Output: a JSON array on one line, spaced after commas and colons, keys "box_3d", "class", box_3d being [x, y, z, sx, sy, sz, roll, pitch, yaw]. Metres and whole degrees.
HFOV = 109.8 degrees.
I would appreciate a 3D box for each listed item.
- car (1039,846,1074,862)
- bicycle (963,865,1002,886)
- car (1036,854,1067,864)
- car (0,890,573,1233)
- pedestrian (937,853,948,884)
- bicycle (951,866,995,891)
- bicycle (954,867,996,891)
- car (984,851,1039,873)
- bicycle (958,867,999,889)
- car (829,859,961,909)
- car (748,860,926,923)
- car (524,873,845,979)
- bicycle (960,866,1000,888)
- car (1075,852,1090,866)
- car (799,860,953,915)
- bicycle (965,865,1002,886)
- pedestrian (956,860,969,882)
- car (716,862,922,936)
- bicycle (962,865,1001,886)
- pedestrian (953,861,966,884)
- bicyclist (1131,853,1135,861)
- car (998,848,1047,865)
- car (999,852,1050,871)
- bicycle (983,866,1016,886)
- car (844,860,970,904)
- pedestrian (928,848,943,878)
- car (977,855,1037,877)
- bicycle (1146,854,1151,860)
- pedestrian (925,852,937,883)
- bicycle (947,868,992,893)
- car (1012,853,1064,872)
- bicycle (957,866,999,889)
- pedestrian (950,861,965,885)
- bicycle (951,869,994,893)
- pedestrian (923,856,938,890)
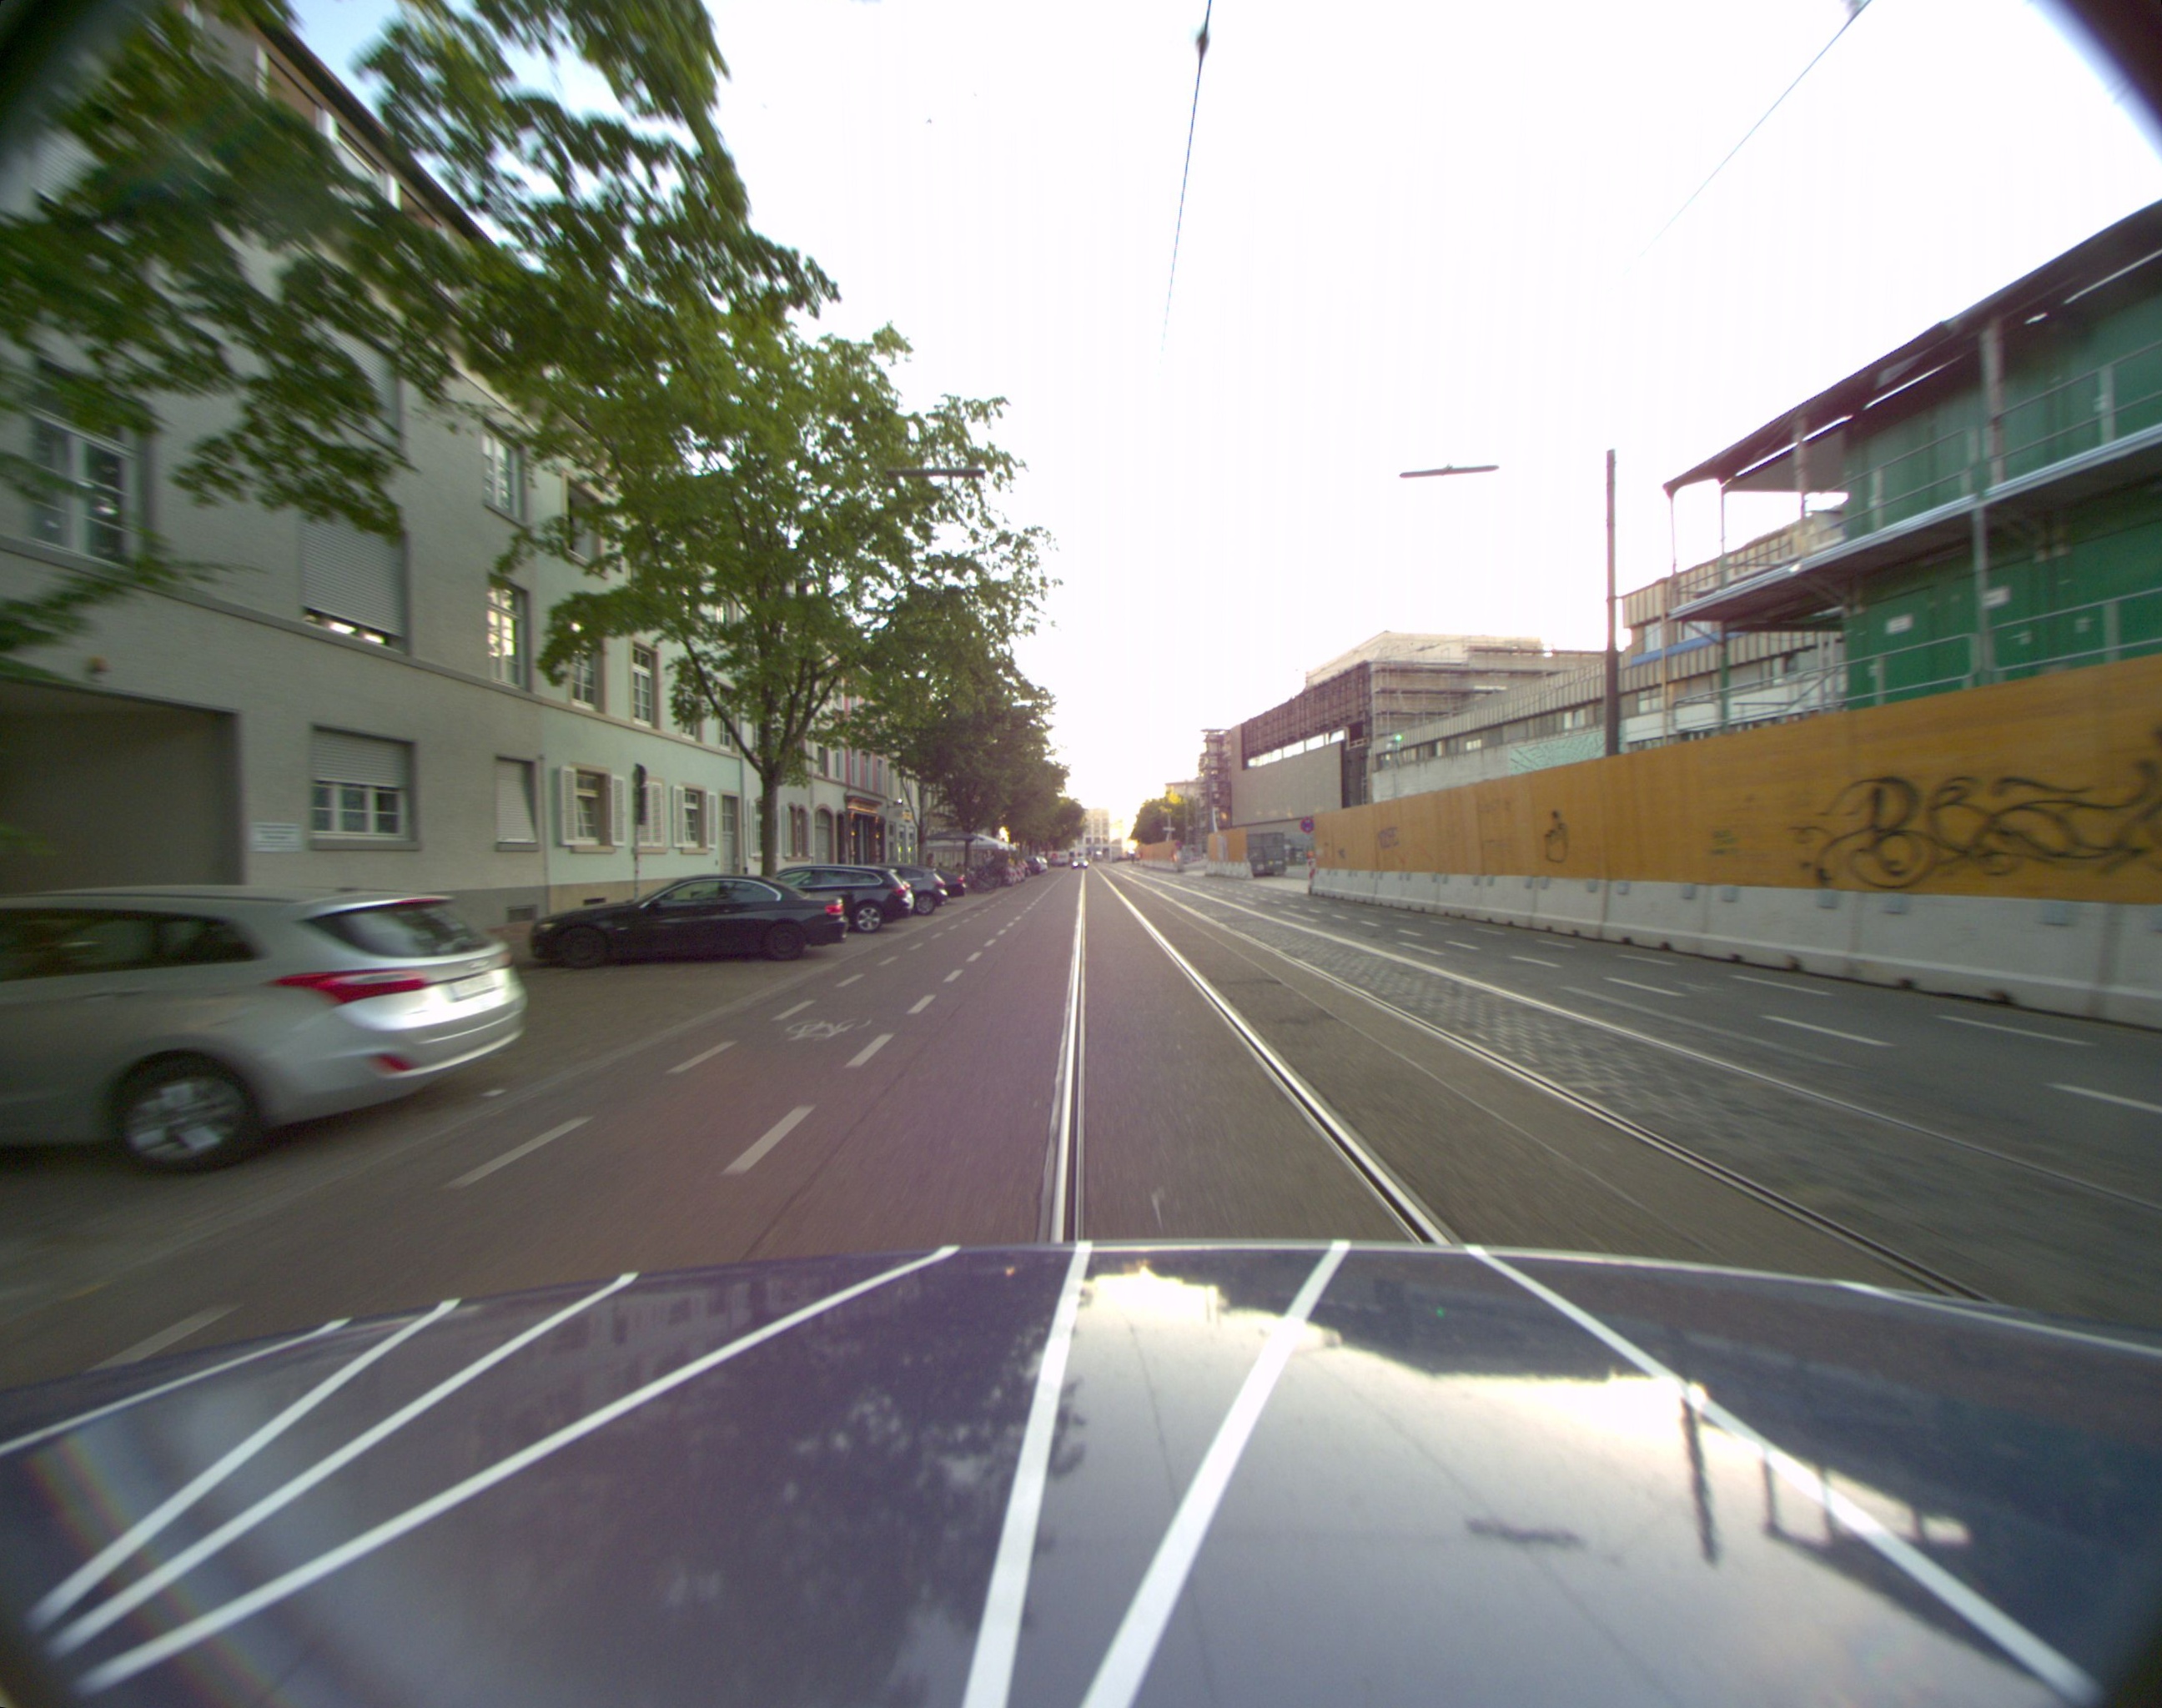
[{"box_3d": [-4.264, 0.033, 130.348, 5.650, 2.678, 2.166, -1, 0, -34], "class": "car"}, {"box_3d": [-5.108, 1.125, 39.382, 1.891, 1.025, 0.608, 2, 0, -1], "class": "bicycle"}, {"box_3d": [-4.766, 0.822, 122.892, 4.614, 1.504, 1.859, 1, -1, -25], "class": "car"}, {"box_3d": [-5.895, 1.053, 4.558, 4.265, 1.540, 2.017, 0, 1, -10], "class": "car"}, {"box_3d": [-8.086, 0.838, 44.356, 0.553, 1.753, 0.714, -2, 1, -16], "class": "pedestrian"}, {"box_3d": [-4.985, 1.140, 35.192, 1.891, 1.061, 0.674, 2, 0, -1], "class": "bicycle"}, {"box_3d": [-4.996, 1.174, 35.861, 1.891, 1.025, 0.608, 2, 0, -1], "class": "bicycle"}, {"box_3d": [-5.779, 0.638, 63.256, 4.167, 1.796, 2.003, 0, 0, -28], "class": "car"}, {"box_3d": [-5.010, 1.175, 37.293, 1.891, 1.025, 0.608, 2, 0, -1], "class": "bicycle"}, {"box_3d": [-6.006, 0.954, 24.611, 3.964, 1.462, 1.998, 2, 0, -16], "class": "car"}, {"box_3d": [-6.278, 0.940, 19.494, 4.135, 1.462, 1.983, 2, 0, -24], "class": "car"}, {"box_3d": [-6.139, 1.043, 12.296, 4.269, 1.384, 2.011, 0, 0, -23], "class": "car"}, {"box_3d": [-5.040, 1.168, 37.982, 1.891, 1.025, 0.608, 2, 0, -1], "class": "bicycle"}, {"box_3d": [0.217, 0.605, 97.480, 1.840, 1.631, 4.169, -5, 0, 1], "class": "car"}, {"box_3d": [-5.924, 0.971, 22.183, 4.131, 1.462, 1.821, 2, 0, -14], "class": "car"}, {"box_3d": [-5.142, 1.121, 40.089, 1.820, 1.025, 0.608, 2, 0, -1], "class": "bicycle"}, {"box_3d": [-7.154, 1.033, 45.735, 0.553, 1.298, 0.713, -1, 1, -27], "class": "pedestrian"}, {"box_3d": [-5.863, 0.979, 17.085, 4.135, 1.462, 2.011, 2, 0, -24], "class": "car"}, {"box_3d": [-5.071, 1.100, 38.703, 1.891, 1.025, 0.608, 2, 0, -1], "class": "bicycle"}, {"box_3d": [-6.871, 1.020, 42.993, 0.599, 1.285, 0.504, 0, 1, 3], "class": "pedestrian"}, {"box_3d": [10.568, 0.576, 154.157, 0.770, 1.656, 1.018, -1, 0, 0], "class": "bicyclist"}, {"box_3d": [-6.488, 0.274, 84.048, 4.984, 1.816, 2.204, 0, 0, -18], "class": "car"}, {"box_3d": [-5.275, 0.718, 71.851, 4.661, 1.678, 2.008, 1, 0, -1], "class": "car"}, {"box_3d": [-4.403, 1.188, 41.130, 1.683, 1.025, 0.557, 2, 0, -1], "class": "bicycle"}, {"box_3d": [-6.173, 0.998, 26.925, 4.179, 1.418, 1.820, 2, 0, -18], "class": "car"}, {"box_3d": [-8.773, 0.531, 45.791, 0.705, 1.753, 0.713, -2, 1, -27], "class": "pedestrian"}, {"box_3d": [-5.371, 0.831, 55.223, 3.979, 1.544, 1.702, 0, 0, -25], "class": "car"}, {"box_3d": [13.658, 0.649, 154.147, 0.770, 1.221, 1.936, -1, 0, 0], "class": "bicycle"}, {"box_3d": [-8.711, 0.768, 44.151, 0.553, 1.753, 0.851, -2, 1, -16], "class": "pedestrian"}, {"box_3d": [-4.951, 1.190, 33.912, 1.908, 1.025, 0.533, 2, 0, -1], "class": "bicycle"}, {"box_3d": [-3.970, 0.776, 69.456, 4.662, 1.678, 2.007, 1, 0, -5], "class": "car"}, {"box_3d": [-4.953, 1.141, 36.565, 1.891, 1.025, 0.608, 2, 0, -1], "class": "bicycle"}, {"box_3d": [-6.813, 1.065, 41.919, 0.502, 1.285, 0.601, -1, 1, 39], "class": "pedestrian"}, {"box_3d": [-4.928, 1.225, 34.502, 1.868, 1.025, 0.591, 2, 0, -2], "class": "bicycle"}, {"box_3d": [-8.021, 1.003, 40.517, 0.552, 1.753, 0.894, -2, 1, 0], "class": "pedestrian"}]
